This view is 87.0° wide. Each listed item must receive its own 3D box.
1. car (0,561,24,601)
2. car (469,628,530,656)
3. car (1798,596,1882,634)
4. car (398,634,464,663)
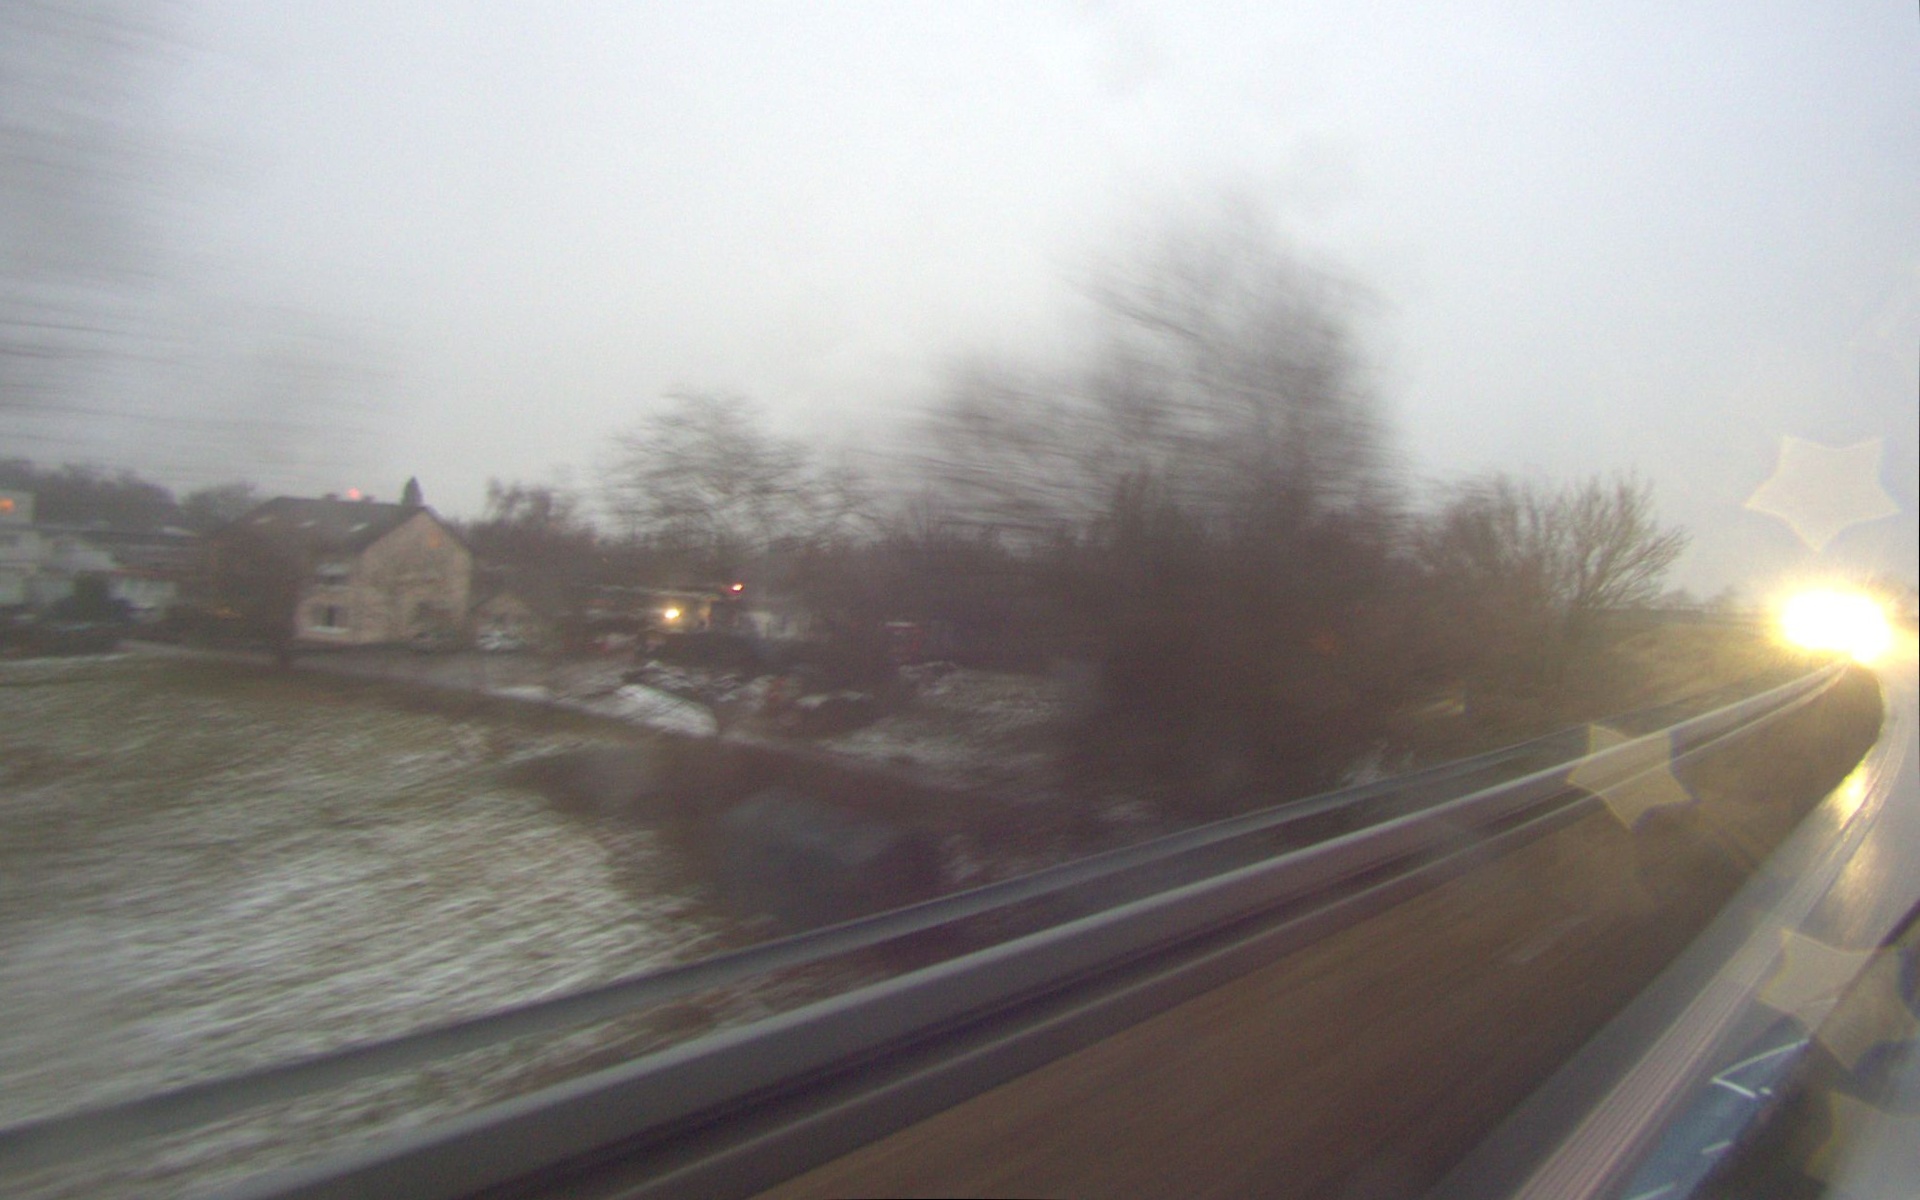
[{"bbox_3d":[-71.664,-1.406,73.581,6.022,2.876,2.285,1,0,13],"label":"car"},{"bbox_3d":[-33.592,3.029,73.936,1.971,1.749,3.982,1,1,14],"label":"car"},{"bbox_3d":[42.097,0.719,48.528,2.087,1.595,4.747,4,1,30],"label":"car"},{"bbox_3d":[-36.940,3.341,70.779,1.971,1.749,3.982,1,1,14],"label":"car"}]
